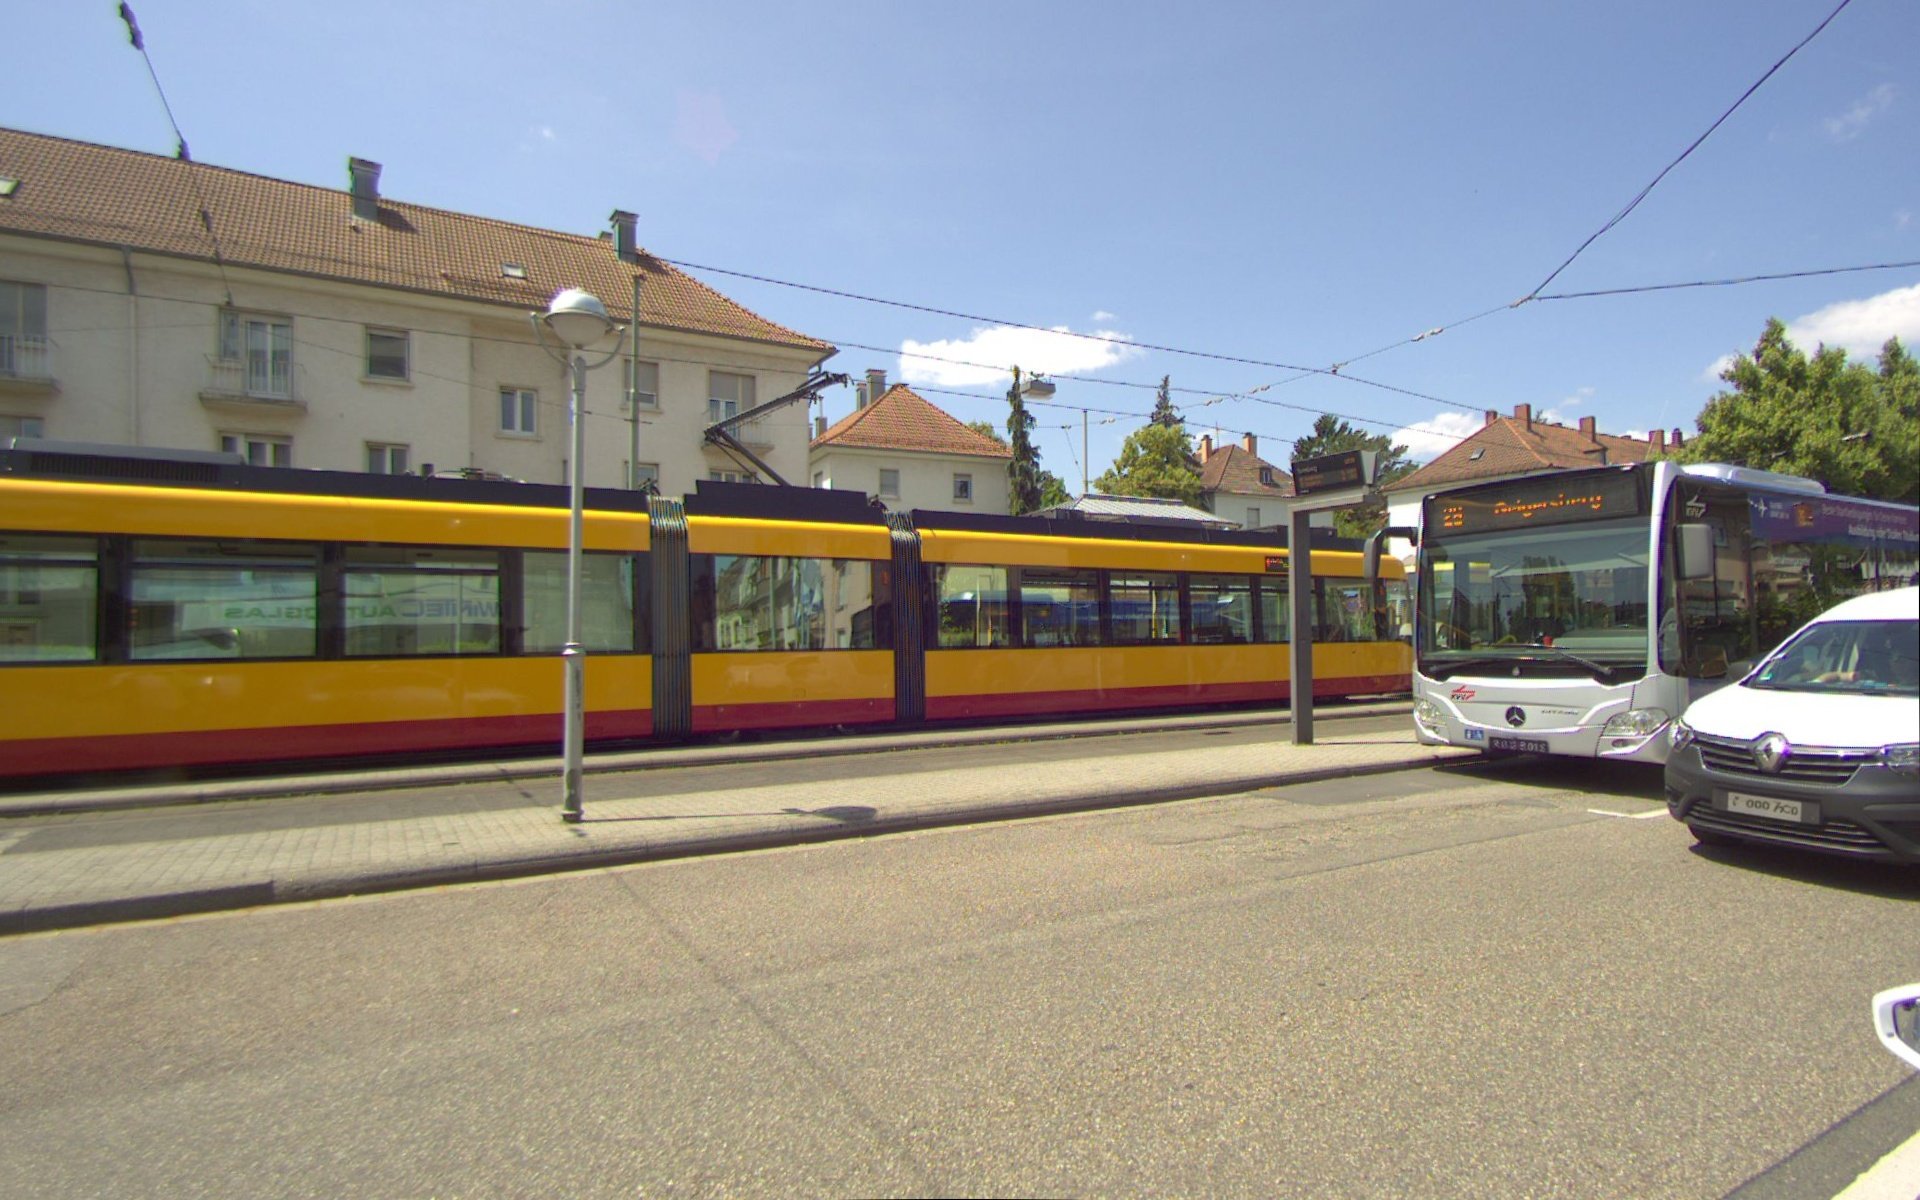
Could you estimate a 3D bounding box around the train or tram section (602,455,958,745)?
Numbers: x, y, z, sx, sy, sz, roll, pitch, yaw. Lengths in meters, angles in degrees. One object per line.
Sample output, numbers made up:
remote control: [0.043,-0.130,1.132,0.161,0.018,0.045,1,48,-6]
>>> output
train or tram section: [-2.653,0.081,14.678,4.367,3.541,2.949,1,-3,-31]

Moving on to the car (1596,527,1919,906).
car: [6.584,0.652,6.654,4.647,1.875,1.699,2,-1,-24]

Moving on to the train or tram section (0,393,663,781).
train or tram section: [-9.760,-0.128,10.269,12.569,3.542,2.948,1,0,-32]

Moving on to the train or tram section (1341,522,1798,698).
train or tram section: [17.028,0.339,26.840,17.156,3.691,2.948,1,0,-32]

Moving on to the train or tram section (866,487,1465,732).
train or tram section: [4.502,0.232,19.068,12.514,3.542,2.948,1,0,-32]

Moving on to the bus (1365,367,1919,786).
bus: [10.184,-0.009,12.747,11.907,3.472,2.892,2,-1,-32]
